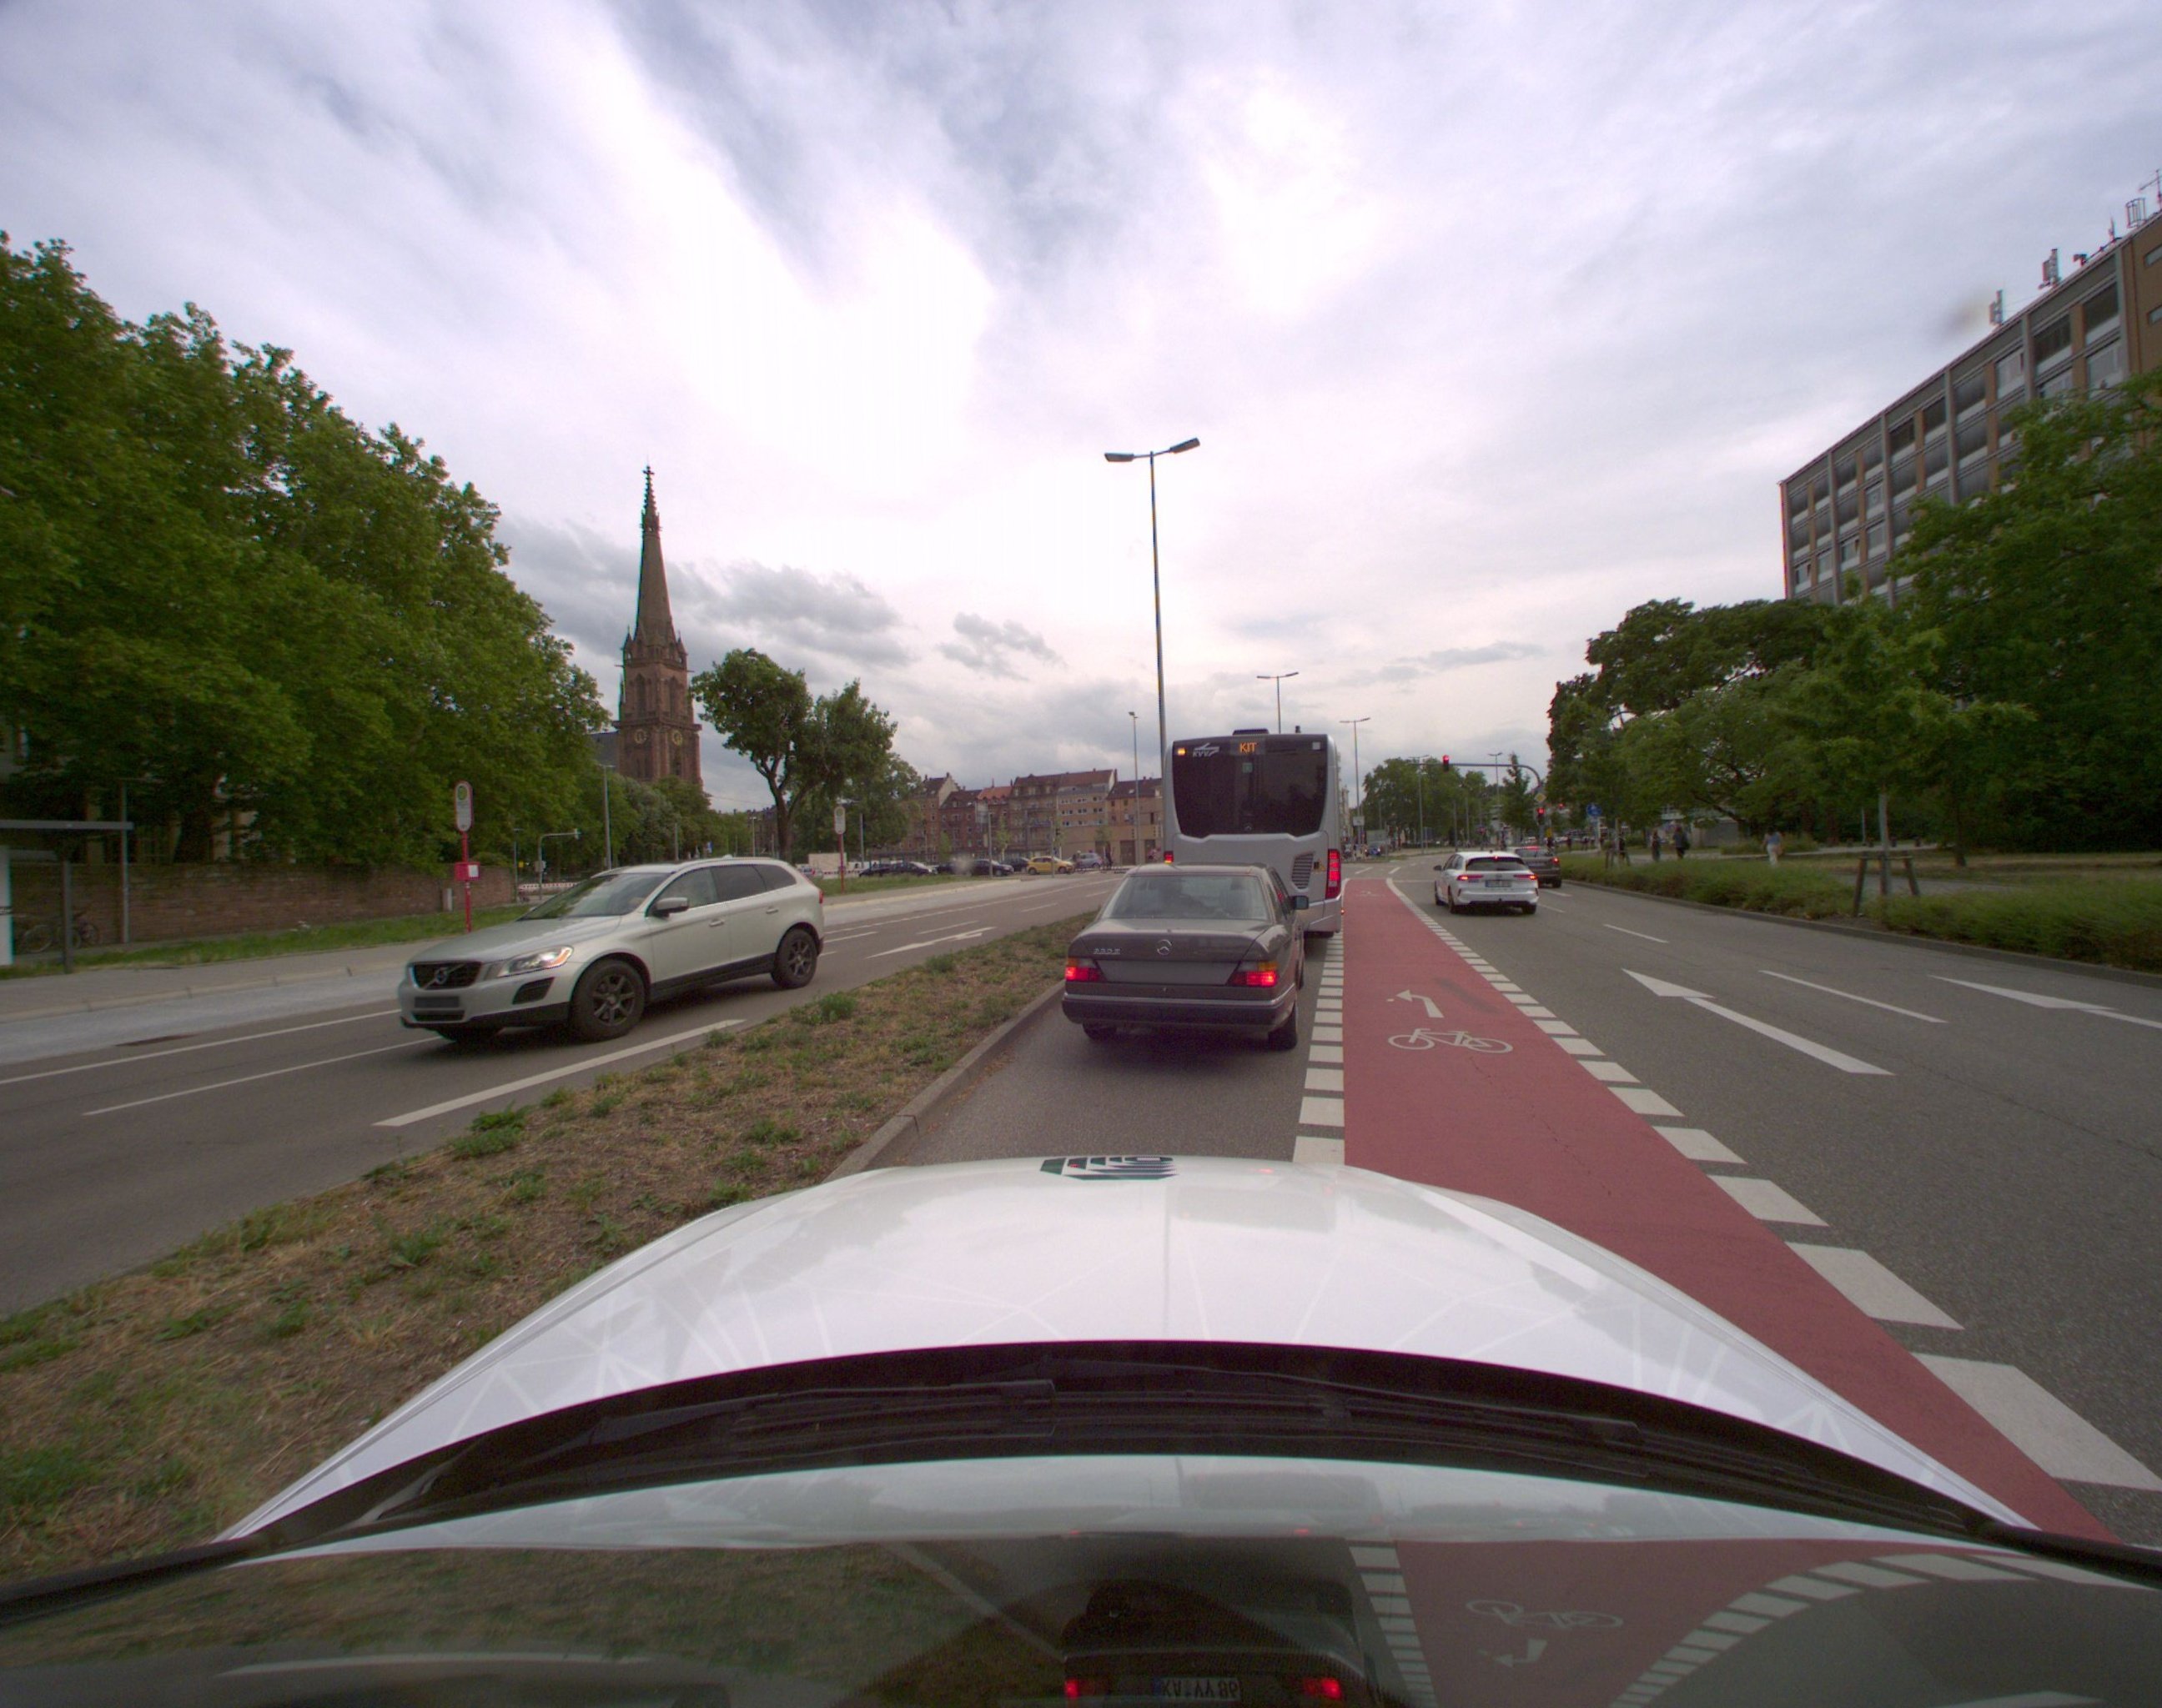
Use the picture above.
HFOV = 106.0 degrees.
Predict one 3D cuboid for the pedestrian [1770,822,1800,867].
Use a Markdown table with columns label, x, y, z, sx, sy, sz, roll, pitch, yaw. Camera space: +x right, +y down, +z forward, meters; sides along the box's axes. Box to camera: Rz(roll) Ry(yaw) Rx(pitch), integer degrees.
| label | x | y | z | sx | sy | sz | roll | pitch | yaw |
| --- | --- | --- | --- | --- | --- | --- | --- | --- | --- |
| pedestrian | 23.470 | -0.310 | 27.164 | 0.650 | 1.470 | 0.565 | -3 | 0 | 34 |

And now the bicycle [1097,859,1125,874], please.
| label | x | y | z | sx | sy | sz | roll | pitch | yaw |
| --- | --- | --- | --- | --- | --- | --- | --- | --- | --- |
| bicycle | 2.271 | 0.951 | 61.364 | 1.949 | 0.982 | 0.634 | -3 | 0 | 16 |

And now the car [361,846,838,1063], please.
| label | x | y | z | sx | sy | sz | roll | pitch | yaw |
| --- | --- | --- | --- | --- | --- | --- | --- | --- | --- |
| car | -4.738 | 0.838 | 8.934 | 1.767 | 1.730 | 4.392 | -3 | 0 | 16 |

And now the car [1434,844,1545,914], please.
| label | x | y | z | sx | sy | sz | roll | pitch | yaw |
| --- | --- | --- | --- | --- | --- | --- | --- | --- | --- |
| car | 9.727 | 0.526 | 19.739 | 1.725 | 1.439 | 4.806 | -2 | 0 | 19 |

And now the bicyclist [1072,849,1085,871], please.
| label | x | y | z | sx | sy | sz | roll | pitch | yaw |
| --- | --- | --- | --- | --- | --- | --- | --- | --- | --- |
| bicyclist | -0.196 | 0.454 | 62.030 | 0.781 | 1.643 | 0.574 | -3 | 0 | 12 |

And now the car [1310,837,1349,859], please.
| label | x | y | z | sx | sy | sz | roll | pitch | yaw |
| --- | --- | --- | --- | --- | --- | --- | --- | --- | --- |
| car | 26.640 | -0.678 | 87.229 | 2.558 | 2.109 | 5.637 | -3 | 0 | 32 |

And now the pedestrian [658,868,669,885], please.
| label | x | y | z | sx | sy | sz | roll | pitch | yaw |
| --- | --- | --- | --- | --- | --- | --- | --- | --- | --- |
| pedestrian | -40.096 | 2.115 | 78.188 | 0.558 | 1.560 | 0.728 | -3 | 2 | 11 |

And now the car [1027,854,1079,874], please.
| label | x | y | z | sx | sy | sz | roll | pitch | yaw |
| --- | --- | --- | --- | --- | --- | --- | --- | --- | --- |
| car | -2.245 | 0.802 | 64.913 | 3.830 | 1.517 | 1.666 | -1 | 0 | 12 |

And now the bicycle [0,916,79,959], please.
| label | x | y | z | sx | sy | sz | roll | pitch | yaw |
| --- | --- | --- | --- | --- | --- | --- | --- | --- | --- |
| bicycle | -26.328 | 2.082 | 20.435 | 0.480 | 0.907 | 1.617 | 0 | 0 | -7 |

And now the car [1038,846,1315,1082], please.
| label | x | y | z | sx | sy | sz | roll | pitch | yaw |
| --- | --- | --- | --- | --- | --- | --- | --- | --- | --- |
| car | 1.173 | 0.712 | 7.448 | 1.747 | 1.489 | 4.190 | -2 | 0 | 17 |

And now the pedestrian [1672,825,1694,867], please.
| label | x | y | z | sx | sy | sz | roll | pitch | yaw |
| --- | --- | --- | --- | --- | --- | --- | --- | --- | --- |
| pedestrian | 25.279 | -0.346 | 34.191 | 0.640 | 1.713 | 0.565 | -3 | 0 | 32 |

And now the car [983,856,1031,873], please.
| label | x | y | z | sx | sy | sz | roll | pitch | yaw |
| --- | --- | --- | --- | --- | --- | --- | --- | --- | --- |
| car | -6.390 | 0.921 | 70.299 | 3.738 | 1.394 | 1.590 | -1 | 0 | 12 |

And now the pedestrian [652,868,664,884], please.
| label | x | y | z | sx | sy | sz | roll | pitch | yaw |
| --- | --- | --- | --- | --- | --- | --- | --- | --- | --- |
| pedestrian | -40.928 | 2.129 | 78.821 | 0.558 | 1.560 | 0.728 | -3 | 2 | 11 |

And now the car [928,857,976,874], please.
| label | x | y | z | sx | sy | sz | roll | pitch | yaw |
| --- | --- | --- | --- | --- | --- | --- | --- | --- | --- |
| car | -11.254 | 1.006 | 71.217 | 3.738 | 1.394 | 1.590 | -1 | 0 | 12 |

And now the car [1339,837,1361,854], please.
| label | x | y | z | sx | sy | sz | roll | pitch | yaw |
| --- | --- | --- | --- | --- | --- | --- | --- | --- | --- |
| car | 31.173 | -1.046 | 94.172 | 1.790 | 1.850 | 4.024 | -3 | 0 | 26 |

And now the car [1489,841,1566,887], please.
| label | x | y | z | sx | sy | sz | roll | pitch | yaw |
| --- | --- | --- | --- | --- | --- | --- | --- | --- | --- |
| car | 15.624 | 0.325 | 28.672 | 1.710 | 1.457 | 3.754 | -2 | 0 | 19 |

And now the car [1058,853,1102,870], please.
| label | x | y | z | sx | sy | sz | roll | pitch | yaw |
| --- | --- | --- | --- | --- | --- | --- | --- | --- | --- |
| car | -0.082 | 0.606 | 69.356 | 3.661 | 1.394 | 1.584 | -1 | 0 | -1 |

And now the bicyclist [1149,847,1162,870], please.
| label | x | y | z | sx | sy | sz | roll | pitch | yaw |
| --- | --- | --- | --- | --- | --- | --- | --- | --- | --- |
| bicyclist | 5.466 | 0.358 | 60.052 | 0.780 | 1.643 | 0.616 | -3 | 0 | 15 |

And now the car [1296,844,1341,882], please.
| label | x | y | z | sx | sy | sz | roll | pitch | yaw |
| --- | --- | --- | --- | --- | --- | --- | --- | --- | --- |
| car | 9.797 | 0.339 | 33.769 | 1.643 | 1.396 | 3.876 | -2 | 0 | 15 |

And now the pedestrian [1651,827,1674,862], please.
| label | x | y | z | sx | sy | sz | roll | pitch | yaw |
| --- | --- | --- | --- | --- | --- | --- | --- | --- | --- |
| pedestrian | 28.972 | -0.482 | 40.562 | 0.794 | 1.713 | 0.770 | -3 | 0 | 30 |

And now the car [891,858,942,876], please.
| label | x | y | z | sx | sy | sz | roll | pitch | yaw |
| --- | --- | --- | --- | --- | --- | --- | --- | --- | --- |
| car | -13.617 | 1.059 | 67.409 | 3.738 | 1.394 | 1.590 | -1 | 0 | 12 |

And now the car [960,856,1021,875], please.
| label | x | y | z | sx | sy | sz | roll | pitch | yaw |
| --- | --- | --- | --- | --- | --- | --- | --- | --- | --- |
| car | -7.329 | 0.944 | 66.060 | 4.637 | 1.475 | 1.666 | -1 | 0 | 12 |

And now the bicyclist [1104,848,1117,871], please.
| label | x | y | z | sx | sy | sz | roll | pitch | yaw |
| --- | --- | --- | --- | --- | --- | --- | --- | --- | --- |
| bicyclist | 2.256 | 0.412 | 61.373 | 0.780 | 1.643 | 0.575 | -3 | 0 | 17 |

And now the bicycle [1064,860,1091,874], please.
| label | x | y | z | sx | sy | sz | roll | pitch | yaw |
| --- | --- | --- | --- | --- | --- | --- | --- | --- | --- |
| bicycle | -0.269 | 0.994 | 62.056 | 1.951 | 0.982 | 0.633 | -3 | 0 | 12 |

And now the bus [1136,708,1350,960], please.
| label | x | y | z | sx | sy | sz | roll | pitch | yaw |
| --- | --- | --- | --- | --- | --- | --- | --- | --- | --- |
| bus | 3.347 | -0.280 | 15.269 | 2.810 | 3.390 | 8.218 | -2 | 0 | 16 |

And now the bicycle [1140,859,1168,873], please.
| label | x | y | z | sx | sy | sz | roll | pitch | yaw |
| --- | --- | --- | --- | --- | --- | --- | --- | --- | --- |
| bicycle | 5.396 | 0.898 | 60.068 | 1.950 | 0.982 | 0.633 | -3 | 0 | 14 |
